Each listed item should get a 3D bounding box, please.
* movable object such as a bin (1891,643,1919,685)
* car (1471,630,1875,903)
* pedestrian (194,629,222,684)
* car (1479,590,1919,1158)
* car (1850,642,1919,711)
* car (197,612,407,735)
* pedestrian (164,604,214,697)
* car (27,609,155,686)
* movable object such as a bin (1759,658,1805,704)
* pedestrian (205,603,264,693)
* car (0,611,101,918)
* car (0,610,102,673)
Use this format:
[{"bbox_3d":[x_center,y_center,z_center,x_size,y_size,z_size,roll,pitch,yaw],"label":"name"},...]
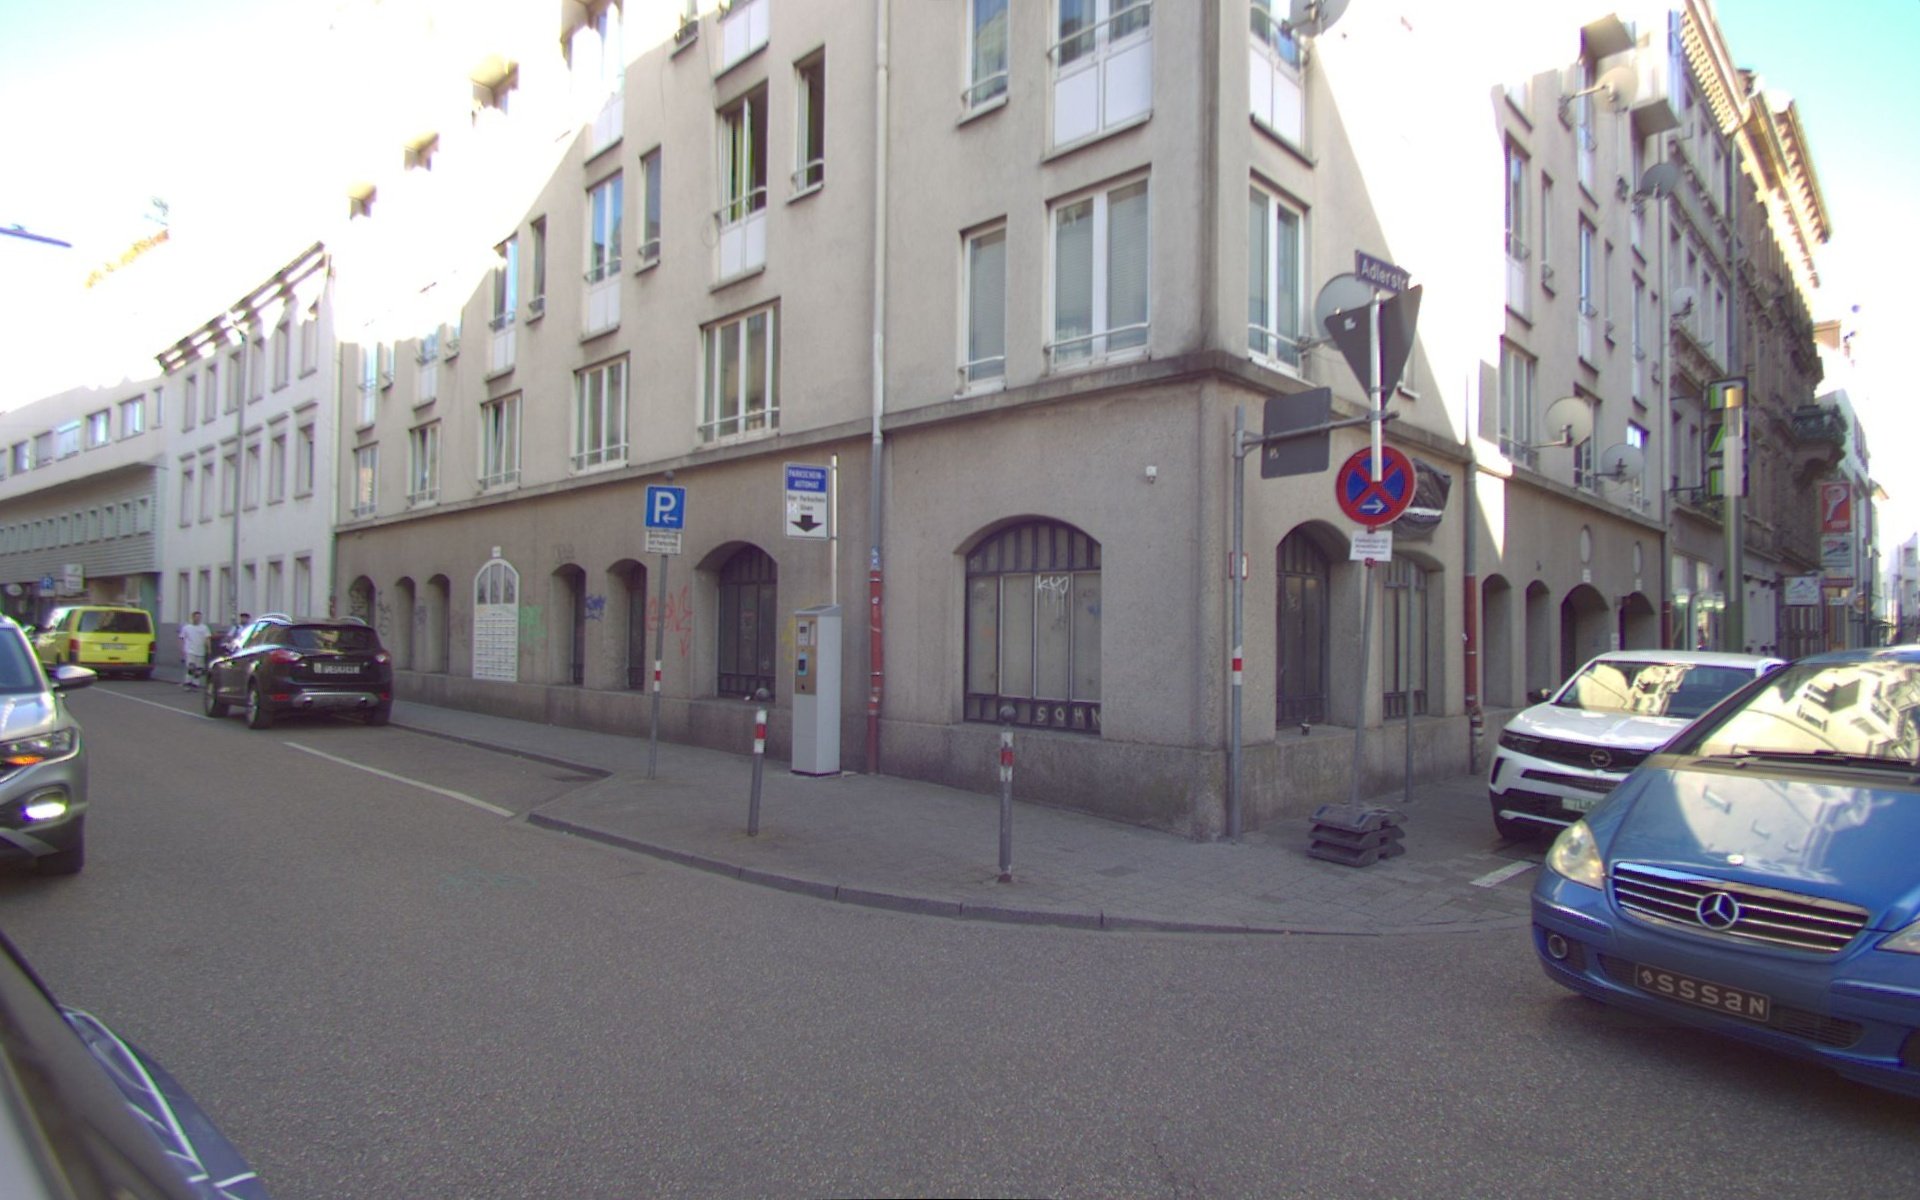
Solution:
[{"bbox_3d":[36.246,2.425,38.573,1.083,1.555,0.895,0,-1,42],"label":"movable object such as a bin"},{"bbox_3d":[5.798,1.088,8.050,3.907,1.605,1.746,3,-2,-41],"label":"car"},{"bbox_3d":[-20.263,1.514,27.267,0.548,1.459,0.584,2,-3,-38],"label":"pedestrian"},{"bbox_3d":[4.239,0.839,4.064,3.740,1.605,1.863,1,-4,-24],"label":"car"},{"bbox_3d":[23.156,1.832,24.944,1.793,1.537,3.944,0,-1,42],"label":"car"},{"bbox_3d":[-10.578,1.123,16.166,4.001,1.717,1.862,-1,-5,44],"label":"car"},{"bbox_3d":[-17.324,1.126,22.749,0.698,2.029,0.706,-1,-3,41],"label":"pedestrian"},{"bbox_3d":[-23.083,1.208,26.848,3.995,1.888,1.865,-1,-2,39],"label":"car"},{"bbox_3d":[20.207,1.975,24.875,0.837,1.056,0.744,-1,0,41],"label":"movable object such as a bin"},{"bbox_3d":[-16.899,1.112,23.569,0.698,2.029,0.925,-1,-3,41],"label":"pedestrian"},{"bbox_3d":[-6.709,0.852,6.109,3.998,1.558,1.740,-1,-3,42],"label":"car"},{"bbox_3d":[-28.115,1.273,31.094,3.995,1.781,1.865,-1,-5,39],"label":"car"}]
